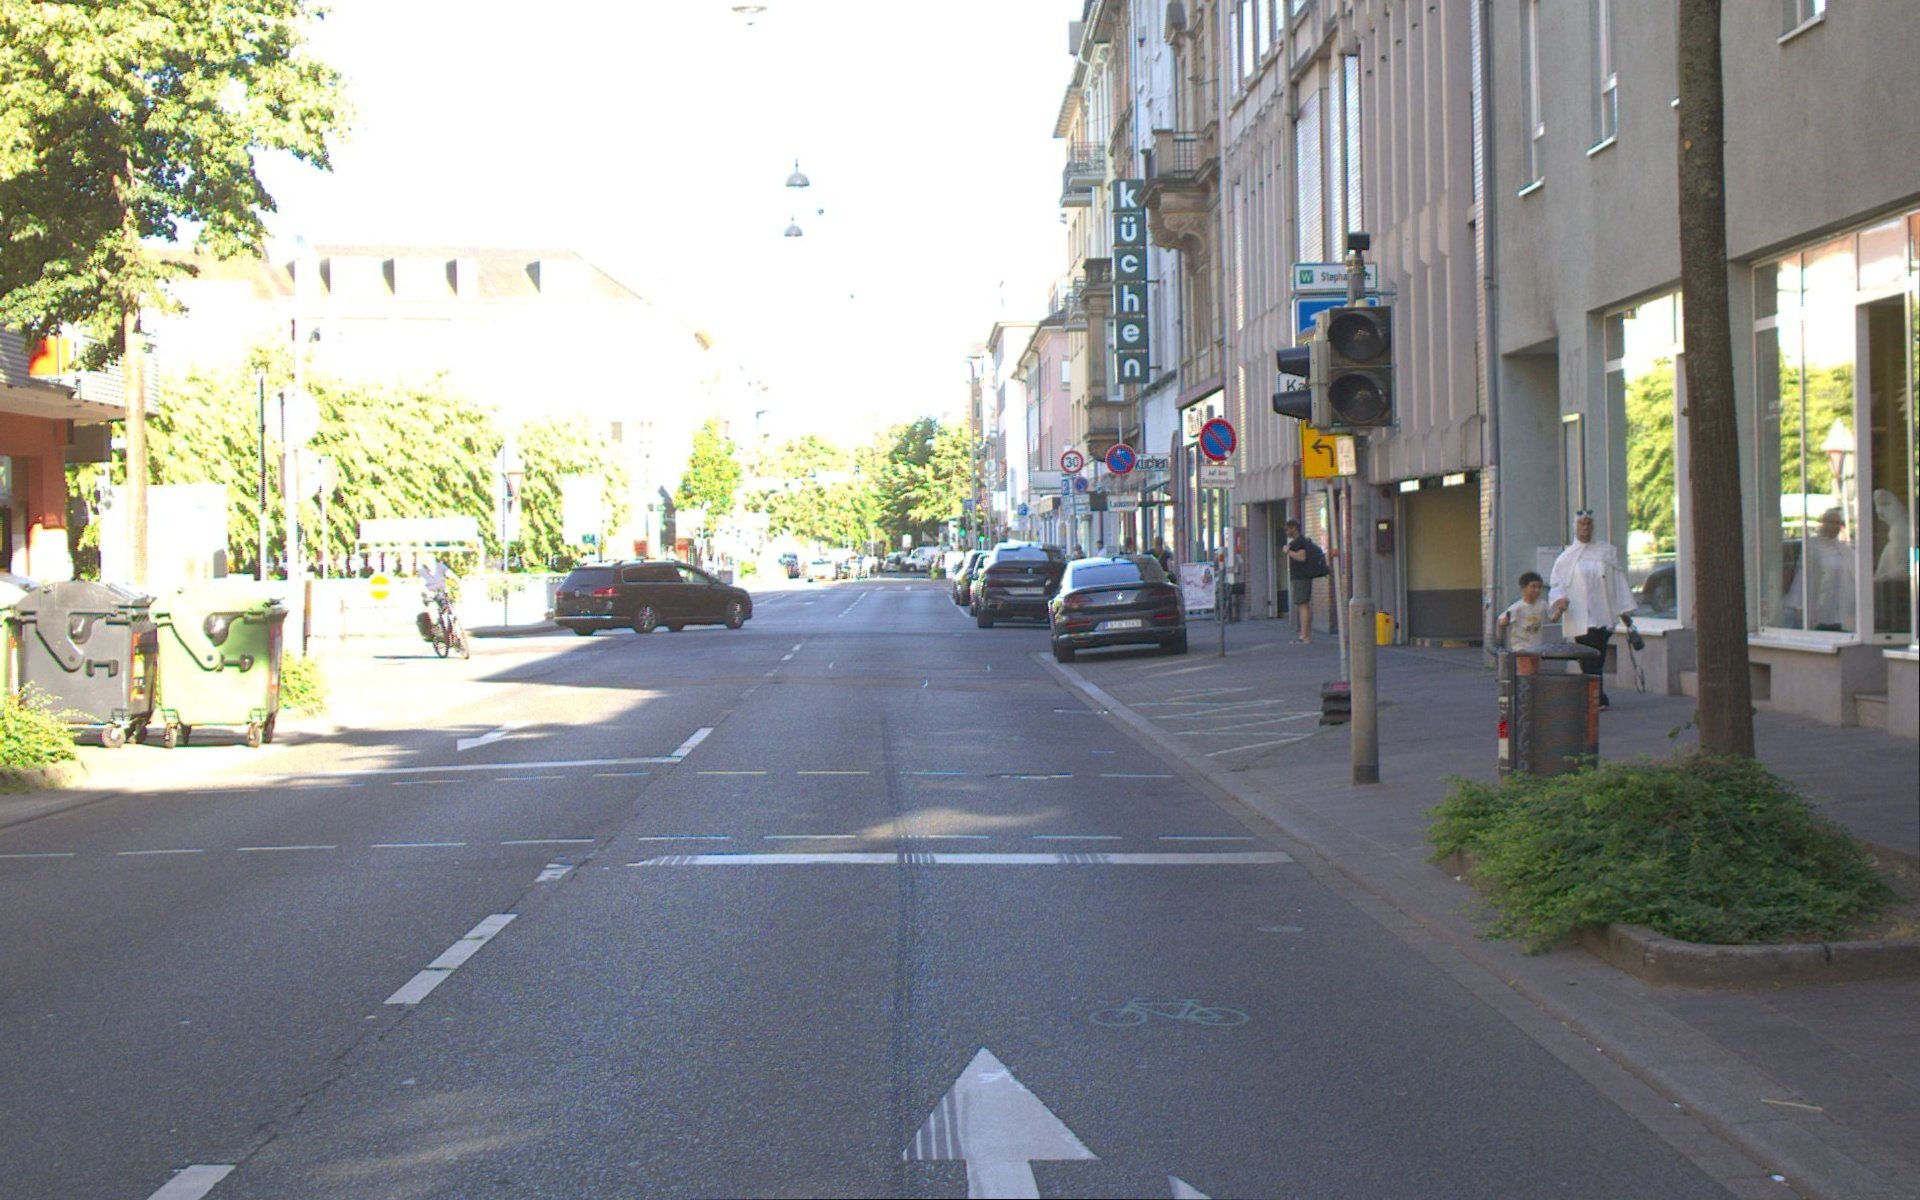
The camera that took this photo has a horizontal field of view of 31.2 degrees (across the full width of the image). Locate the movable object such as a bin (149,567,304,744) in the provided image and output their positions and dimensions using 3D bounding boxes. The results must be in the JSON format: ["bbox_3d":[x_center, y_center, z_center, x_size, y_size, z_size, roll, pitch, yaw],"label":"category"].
[{"bbox_3d":[-6.357,0.463,29.883,1.042,1.466,1.453,-1,1,-2],"label":"movable object such as a bin"}]

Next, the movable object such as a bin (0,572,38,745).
[{"bbox_3d":[-8.610,0.501,29.736,0.964,1.466,1.143,-1,1,-2],"label":"movable object such as a bin"}]

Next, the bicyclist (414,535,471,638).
[{"bbox_3d":[-8.389,-0.227,55.752,0.696,1.647,1.036,-1,1,2],"label":"bicyclist"}]

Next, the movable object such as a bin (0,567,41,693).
[{"bbox_3d":[-10.667,0.325,37.294,1.042,1.340,1.314,-1,1,-2],"label":"movable object such as a bin"}]

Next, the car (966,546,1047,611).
[{"bbox_3d":[1.132,-0.563,85.943,1.839,1.541,4.229,0,1,-1],"label":"car"}]

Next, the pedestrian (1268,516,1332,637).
[{"bbox_3d":[4.727,-0.337,47.817,0.691,1.630,0.889,-3,1,-1],"label":"pedestrian"}]

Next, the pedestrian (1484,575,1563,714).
[{"bbox_3d":[4.352,0.334,26.577,0.393,1.030,0.740,-4,1,-2],"label":"pedestrian"}]

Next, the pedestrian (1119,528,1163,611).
[{"bbox_3d":[3.729,-0.634,70.876,0.801,1.669,0.589,-3,1,2],"label":"pedestrian"}]

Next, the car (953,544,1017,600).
[{"bbox_3d":[0.750,-0.837,104.819,1.716,1.630,4.084,0,0,-2],"label":"car"}]

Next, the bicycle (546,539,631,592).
[{"bbox_3d":[-14.405,-1.340,133.382,3.122,2.007,0.908,0,1,9],"label":"bicycle"}]

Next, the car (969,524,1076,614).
[{"bbox_3d":[1.209,-0.648,68.517,1.973,1.719,4.824,0,1,-1],"label":"car"}]

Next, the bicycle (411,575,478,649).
[{"bbox_3d":[-8.382,0.182,55.923,0.705,1.142,1.967,-1,1,2],"label":"bicycle"}]

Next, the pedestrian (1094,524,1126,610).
[{"bbox_3d":[3.095,-0.686,70.898,0.620,1.760,0.518,-1,1,2],"label":"pedestrian"}]

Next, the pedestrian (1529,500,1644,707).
[{"bbox_3d":[4.897,0.021,26.915,0.580,1.554,1.021,-4,1,-2],"label":"pedestrian"}]

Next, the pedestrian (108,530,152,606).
[{"bbox_3d":[-23.026,-0.889,95.357,0.733,2.101,0.966,0,1,22],"label":"pedestrian"}]

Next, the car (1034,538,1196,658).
[{"bbox_3d":[2.155,-0.067,49.049,1.917,1.473,4.965,-5,1,-1],"label":"car"}]

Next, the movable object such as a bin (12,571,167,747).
[{"bbox_3d":[-7.499,0.494,29.681,1.042,1.466,1.143,-1,1,-2],"label":"movable object such as a bin"}]

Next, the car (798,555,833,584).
[{"bbox_3d":[-9.241,-1.956,219.985,1.993,1.766,4.000,0,1,0],"label":"car"}]

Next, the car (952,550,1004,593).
[{"bbox_3d":[0.620,-1.000,122.062,1.792,1.455,3.868,0,0,-1],"label":"car"}]

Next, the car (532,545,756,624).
[{"bbox_3d":[-6.197,-0.328,67.793,1.939,1.482,4.261,0,1,40],"label":"car"}]
